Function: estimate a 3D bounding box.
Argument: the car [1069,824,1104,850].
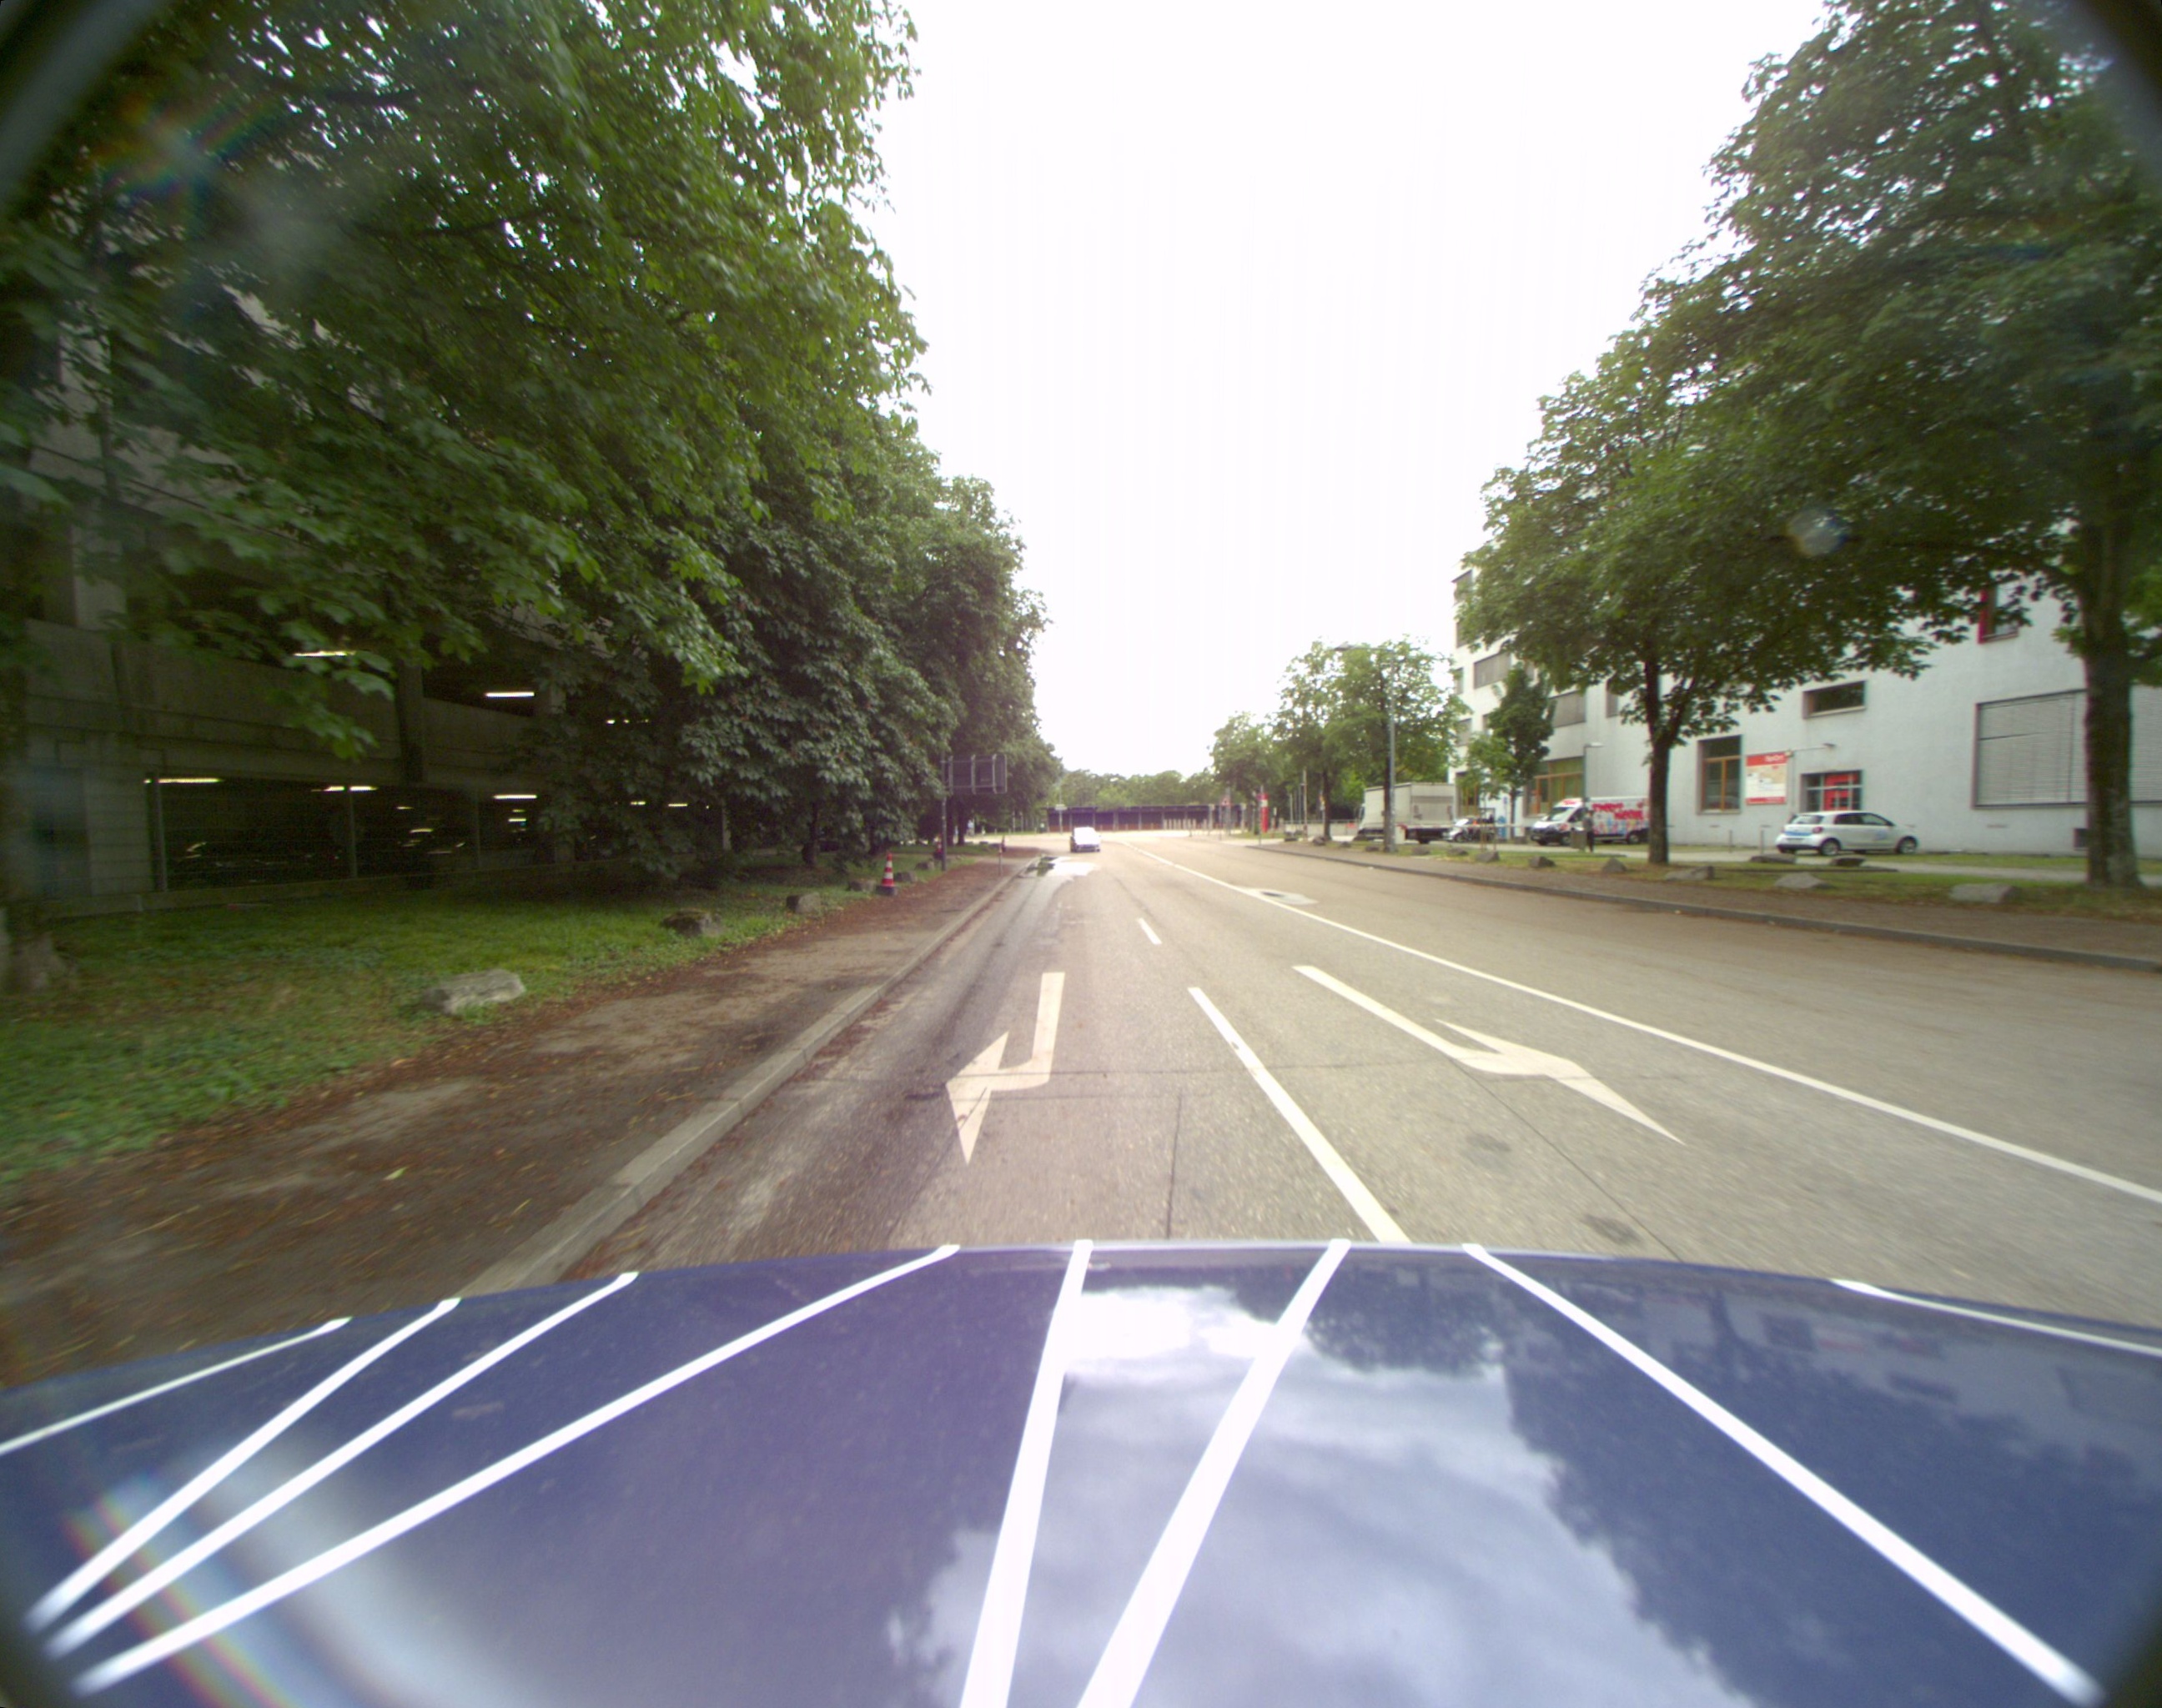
[{"bbox_3d":[0.293,-1.109,47.908,1.855,1.471,4.505,-2,3,-4],"label":"car"}]

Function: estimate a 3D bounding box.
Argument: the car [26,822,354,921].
[{"bbox_3d":[-18.067,0.255,15.784,1.999,1.718,3.998,-2,2,-1],"label":"car"}]

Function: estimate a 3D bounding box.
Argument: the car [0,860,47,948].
[{"bbox_3d":[-17.652,0.857,10.481,1.521,1.357,3.774,-1,2,0],"label":"car"}]

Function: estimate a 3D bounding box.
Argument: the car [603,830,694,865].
[{"bbox_3d":[-17.614,-0.317,31.163,1.521,1.319,3.774,-1,2,0],"label":"car"}]

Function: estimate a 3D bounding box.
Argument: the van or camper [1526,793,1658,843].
[{"bbox_3d":[26.097,-1.834,38.931,5.266,2.413,2.256,-1,2,-2],"label":"van or camper"}]

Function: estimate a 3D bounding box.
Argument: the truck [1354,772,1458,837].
[{"bbox_3d":[19.731,-2.921,46.783,2.648,3.596,7.834,1,2,-3],"label":"truck"}]

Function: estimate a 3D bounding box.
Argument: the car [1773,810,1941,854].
[{"bbox_3d":[26.680,-0.763,26.210,4.009,1.411,1.714,-1,2,0],"label":"car"}]

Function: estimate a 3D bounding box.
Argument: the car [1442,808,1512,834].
[{"bbox_3d":[25.810,-2.159,49.609,3.698,1.638,1.655,-1,2,2],"label":"car"}]

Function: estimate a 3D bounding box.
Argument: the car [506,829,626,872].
[{"bbox_3d":[-17.740,-0.188,26.379,1.521,1.357,3.774,-1,2,0],"label":"car"}]
